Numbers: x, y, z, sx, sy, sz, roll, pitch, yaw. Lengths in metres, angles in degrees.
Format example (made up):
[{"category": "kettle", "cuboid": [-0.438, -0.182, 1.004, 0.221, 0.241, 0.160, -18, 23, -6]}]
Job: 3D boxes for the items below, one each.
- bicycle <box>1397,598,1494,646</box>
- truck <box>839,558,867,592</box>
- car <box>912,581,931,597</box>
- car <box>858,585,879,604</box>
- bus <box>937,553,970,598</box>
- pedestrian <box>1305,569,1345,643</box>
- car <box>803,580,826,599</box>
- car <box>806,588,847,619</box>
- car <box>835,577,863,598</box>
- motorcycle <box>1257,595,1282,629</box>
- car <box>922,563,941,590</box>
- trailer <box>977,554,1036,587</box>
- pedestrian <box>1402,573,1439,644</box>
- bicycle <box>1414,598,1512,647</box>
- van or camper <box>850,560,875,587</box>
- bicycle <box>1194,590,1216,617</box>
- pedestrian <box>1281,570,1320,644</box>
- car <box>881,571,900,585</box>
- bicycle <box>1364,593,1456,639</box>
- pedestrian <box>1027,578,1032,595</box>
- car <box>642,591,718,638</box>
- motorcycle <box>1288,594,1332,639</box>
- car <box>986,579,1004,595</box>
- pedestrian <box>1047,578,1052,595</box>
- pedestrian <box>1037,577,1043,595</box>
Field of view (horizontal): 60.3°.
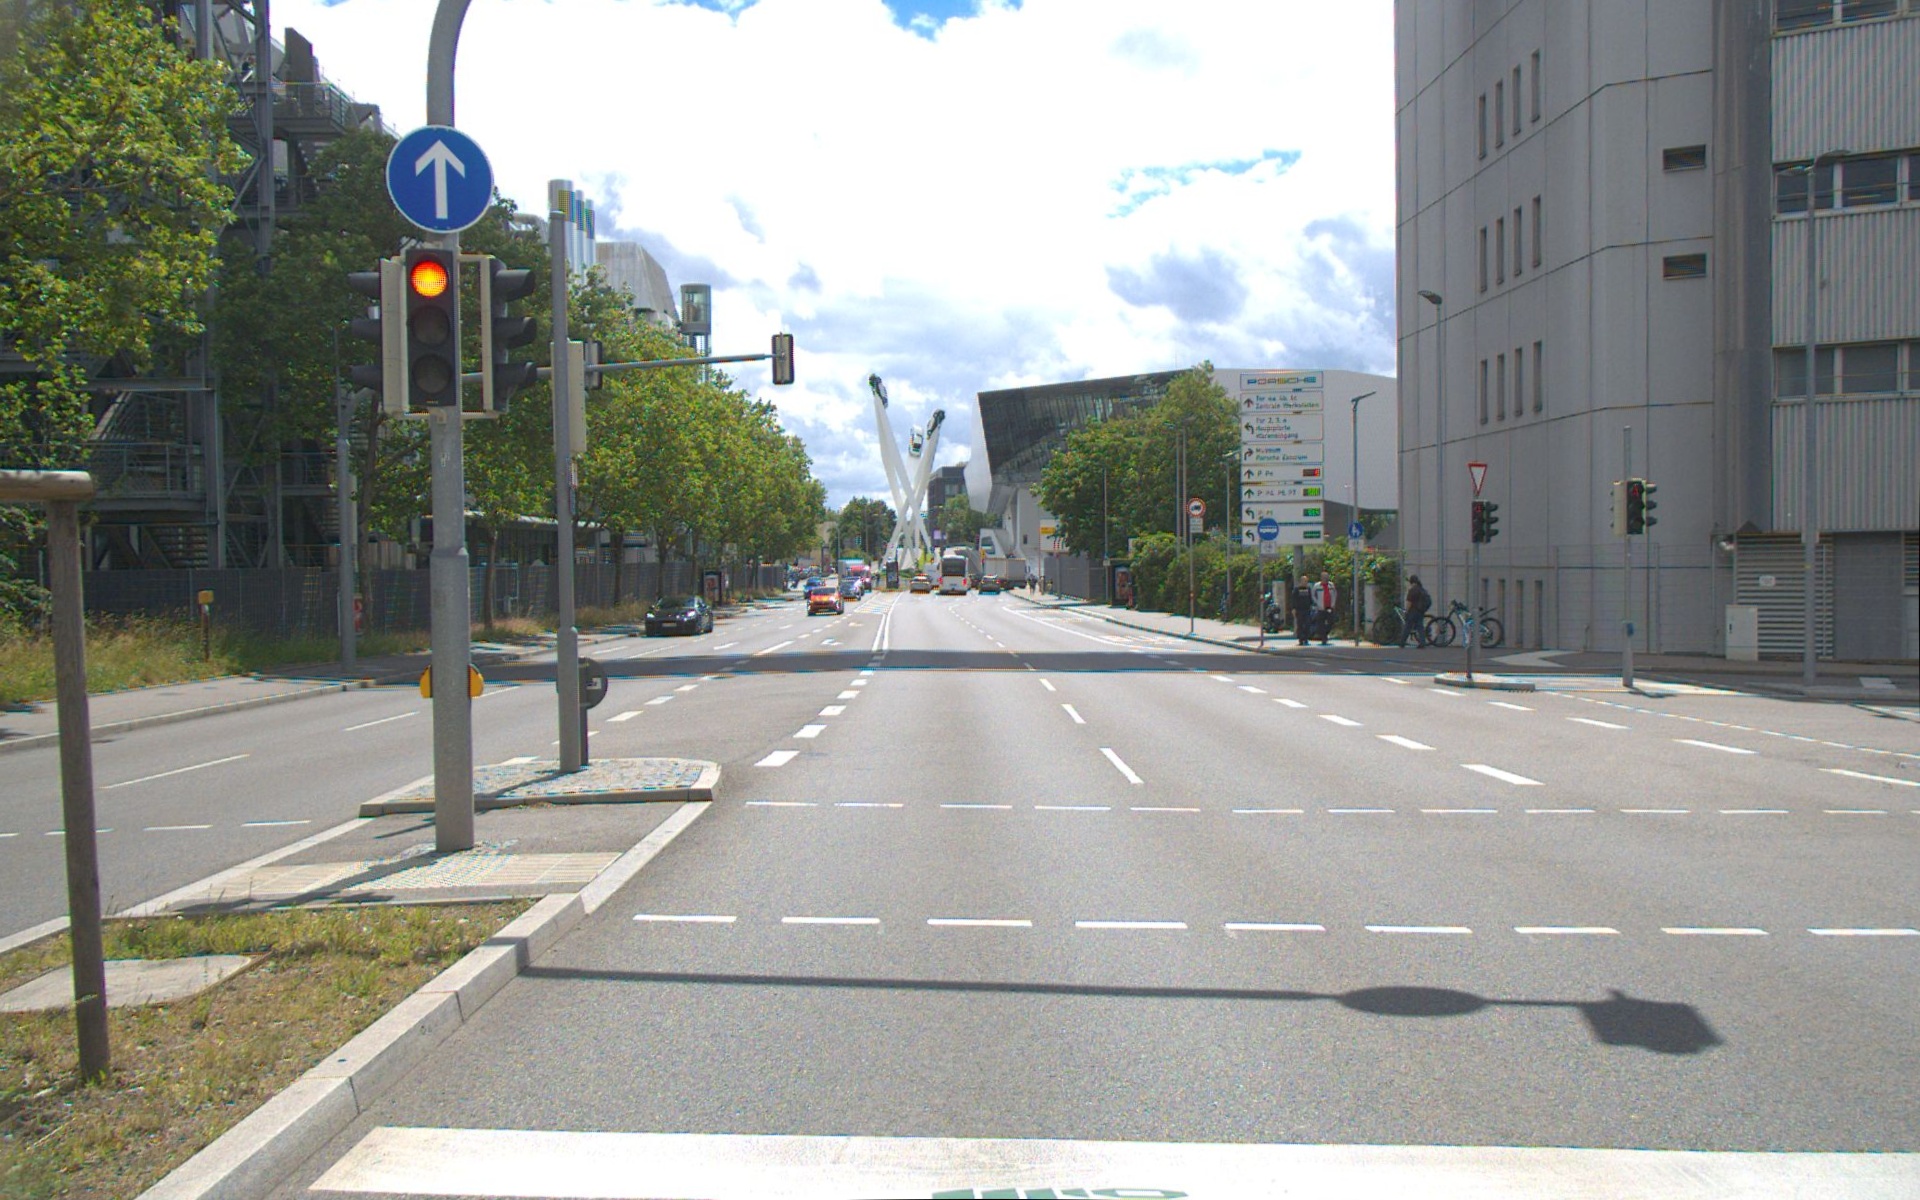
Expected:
[{"category": "bicycle", "cuboid": [11.637, 0.528, 39.699, 2.180, 1.105, 0.475, 1, -1, 35]}, {"category": "truck", "cuboid": [-11.335, -2.621, 175.727, 2.538, 3.382, 7.078, 1, 0, 0]}, {"category": "car", "cuboid": [-3.415, -0.987, 148.490, 1.525, 1.295, 3.701, -2, 0, 1]}, {"category": "car", "cuboid": [-7.703, -0.497, 139.255, 1.525, 1.473, 3.772, -2, 0, 0]}, {"category": "bus", "cuboid": [-0.569, -2.089, 145.800, 2.730, 3.750, 6.942, 1, 0, 0]}, {"category": "pedestrian", "cuboid": [9.268, 0.148, 41.993, 0.680, 1.825, 0.709, -3, 1, -16]}, {"category": "car", "cuboid": [-12.219, -0.891, 139.322, 1.761, 1.601, 3.998, 0, 0, -2]}, {"category": "car", "cuboid": [-6.823, 0.168, 84.652, 1.733, 1.445, 3.701, -2, 0, 0]}, {"category": "car", "cuboid": [-8.110, -0.913, 120.691, 1.733, 1.445, 3.701, -2, 0, 0]}, {"category": "motorcycle", "cuboid": [9.739, 0.367, 52.140, 0.448, 1.040, 1.913, 1, 0, 1]}, {"category": "car", "cuboid": [-2.975, -2.417, 171.154, 1.806, 2.669, 3.998, 1, 0, -2]}, {"category": "trailer", "cuboid": [4.926, -3.033, 172.278, 3.250, 3.047, 10.380, 1, 0, 18]}, {"category": "pedestrian", "cuboid": [10.830, 0.200, 38.898, 0.647, 1.669, 0.531, 0, -1, 44]}, {"category": "bicycle", "cuboid": [11.828, 0.528, 38.936, 2.149, 1.105, 0.475, 1, -1, 35]}, {"category": "van or camper", "cuboid": [-9.244, -2.531, 157.484, 2.005, 2.509, 5.594, 0, 0, 0]}, {"category": "bicycle", "cuboid": [9.670, 0.149, 65.400, 0.410, 1.040, 1.910, 1, 0, -5]}, {"category": "pedestrian", "cuboid": [8.613, 0.180, 41.858, 0.631, 1.825, 0.709, -3, 1, -16]}, {"category": "car", "cuboid": [-6.533, -2.069, 155.663, 1.525, 1.295, 3.701, -2, 0, 0]}, {"category": "bicycle", "cuboid": [11.152, 0.385, 41.024, 2.180, 1.105, 0.475, 1, -1, 35]}, {"category": "pedestrian", "cuboid": [5.798, -1.135, 137.938, 0.378, 1.446, 0.423, 1, -1, 0]}, {"category": "car", "cuboid": [-10.106, 0.492, 60.003, 1.878, 1.514, 4.772, -2, 1, 0]}, {"category": "motorcycle", "cuboid": [9.547, 0.450, 45.153, 0.410, 1.186, 1.951, 1, 0, -11]}, {"category": "car", "cuboid": [3.099, -1.149, 146.353, 1.525, 1.295, 3.701, -2, 0, 1]}, {"category": "pedestrian", "cuboid": [7.489, -1.136, 138.671, 0.378, 1.446, 0.423, 1, -1, 0]}, {"category": "pedestrian", "cuboid": [6.639, -1.141, 137.262, 0.378, 1.446, 0.423, 1, -1, 0]}]
